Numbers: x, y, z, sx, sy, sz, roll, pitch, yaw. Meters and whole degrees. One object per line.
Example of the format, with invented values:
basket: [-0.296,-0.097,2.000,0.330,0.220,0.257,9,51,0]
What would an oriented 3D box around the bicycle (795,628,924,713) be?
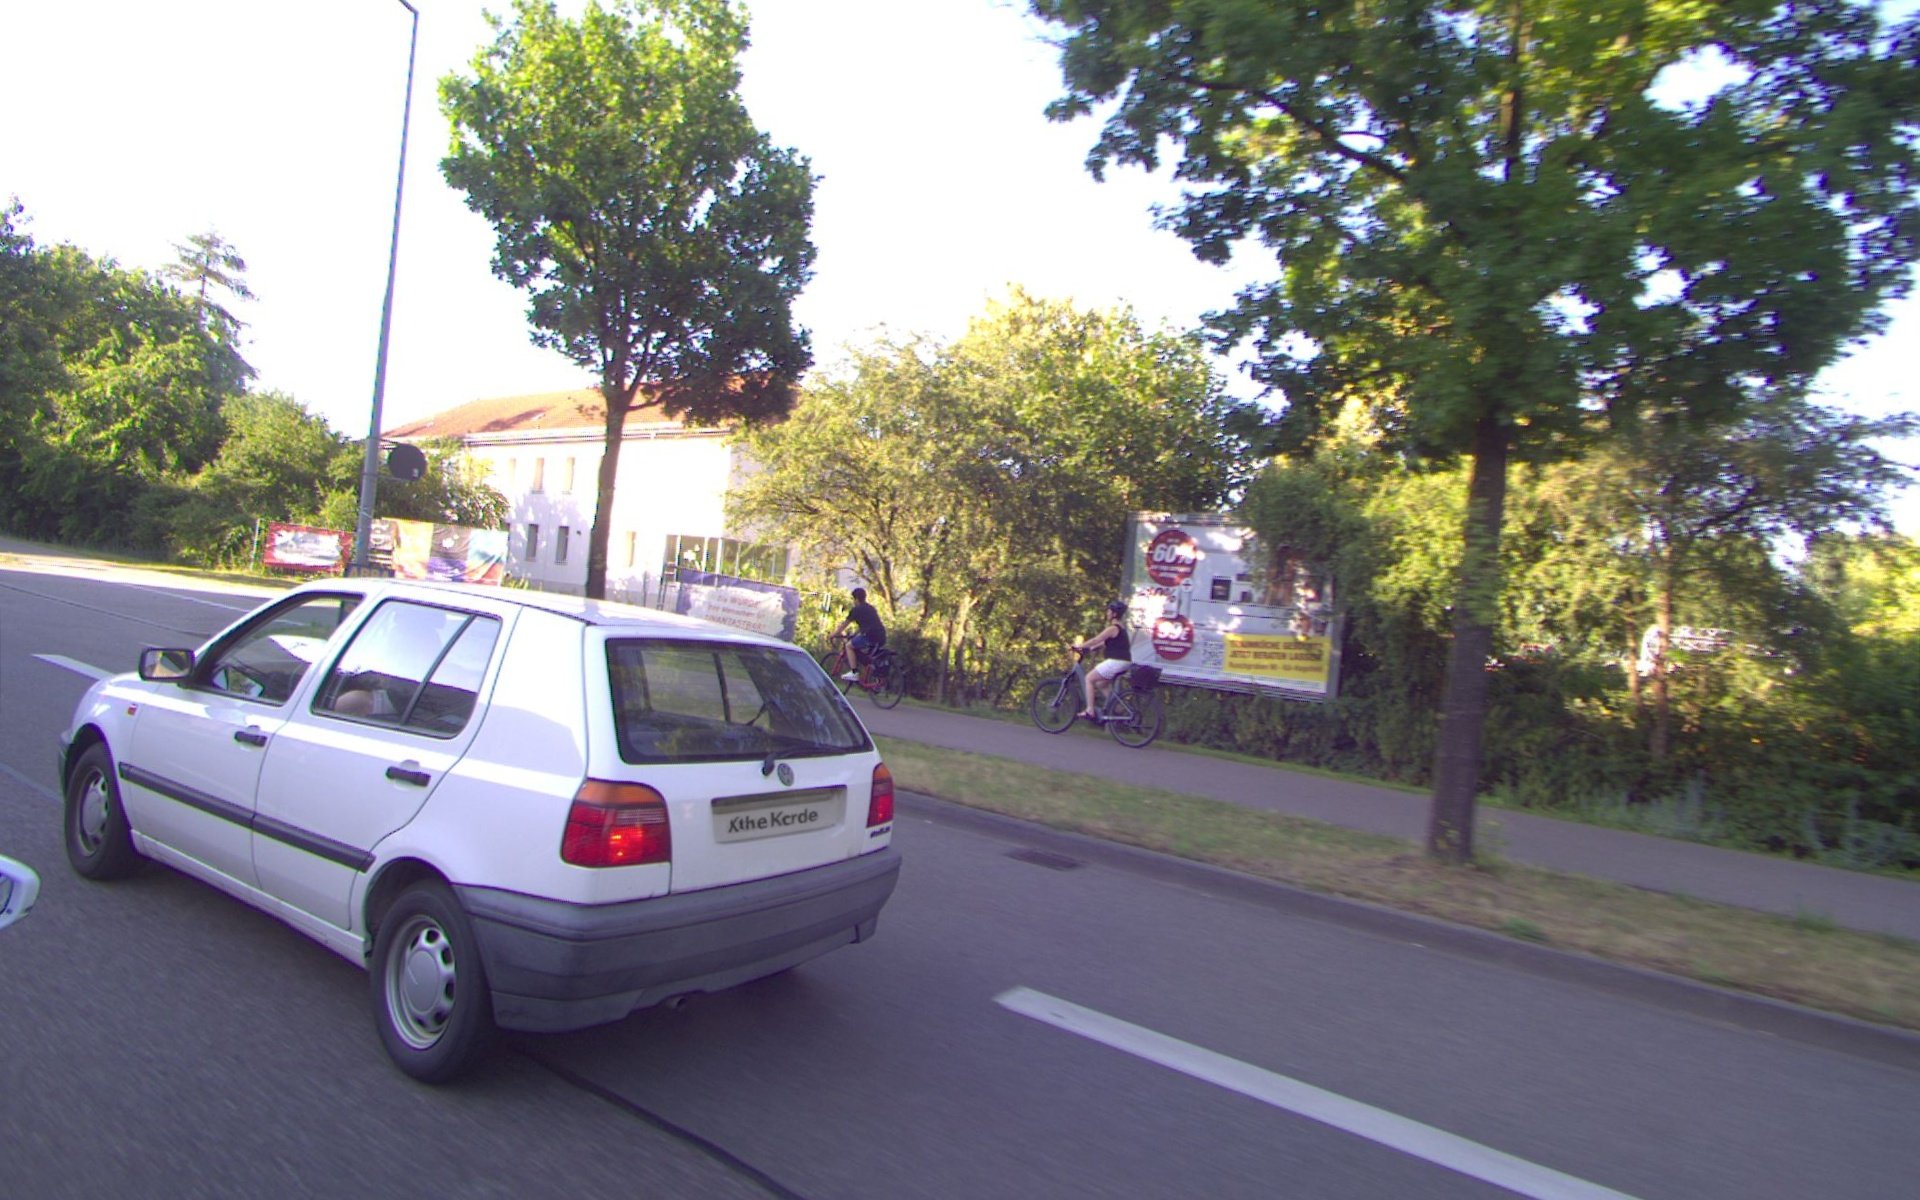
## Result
bicycle: [-1.470,1.010,14.537,1.792,0.985,0.617,6,0,34]

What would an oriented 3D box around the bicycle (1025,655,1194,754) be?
bicycle: [1.925,1.330,13.114,2.025,0.985,0.617,6,0,34]

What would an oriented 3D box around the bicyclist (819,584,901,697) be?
bicyclist: [-1.449,0.582,14.547,0.834,1.520,0.613,6,0,34]

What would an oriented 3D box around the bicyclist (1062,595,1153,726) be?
bicyclist: [1.928,0.784,13.138,0.834,1.598,0.603,6,0,34]

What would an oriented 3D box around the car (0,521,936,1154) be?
car: [-2.266,0.590,4.207,3.971,1.414,1.614,5,-3,31]
